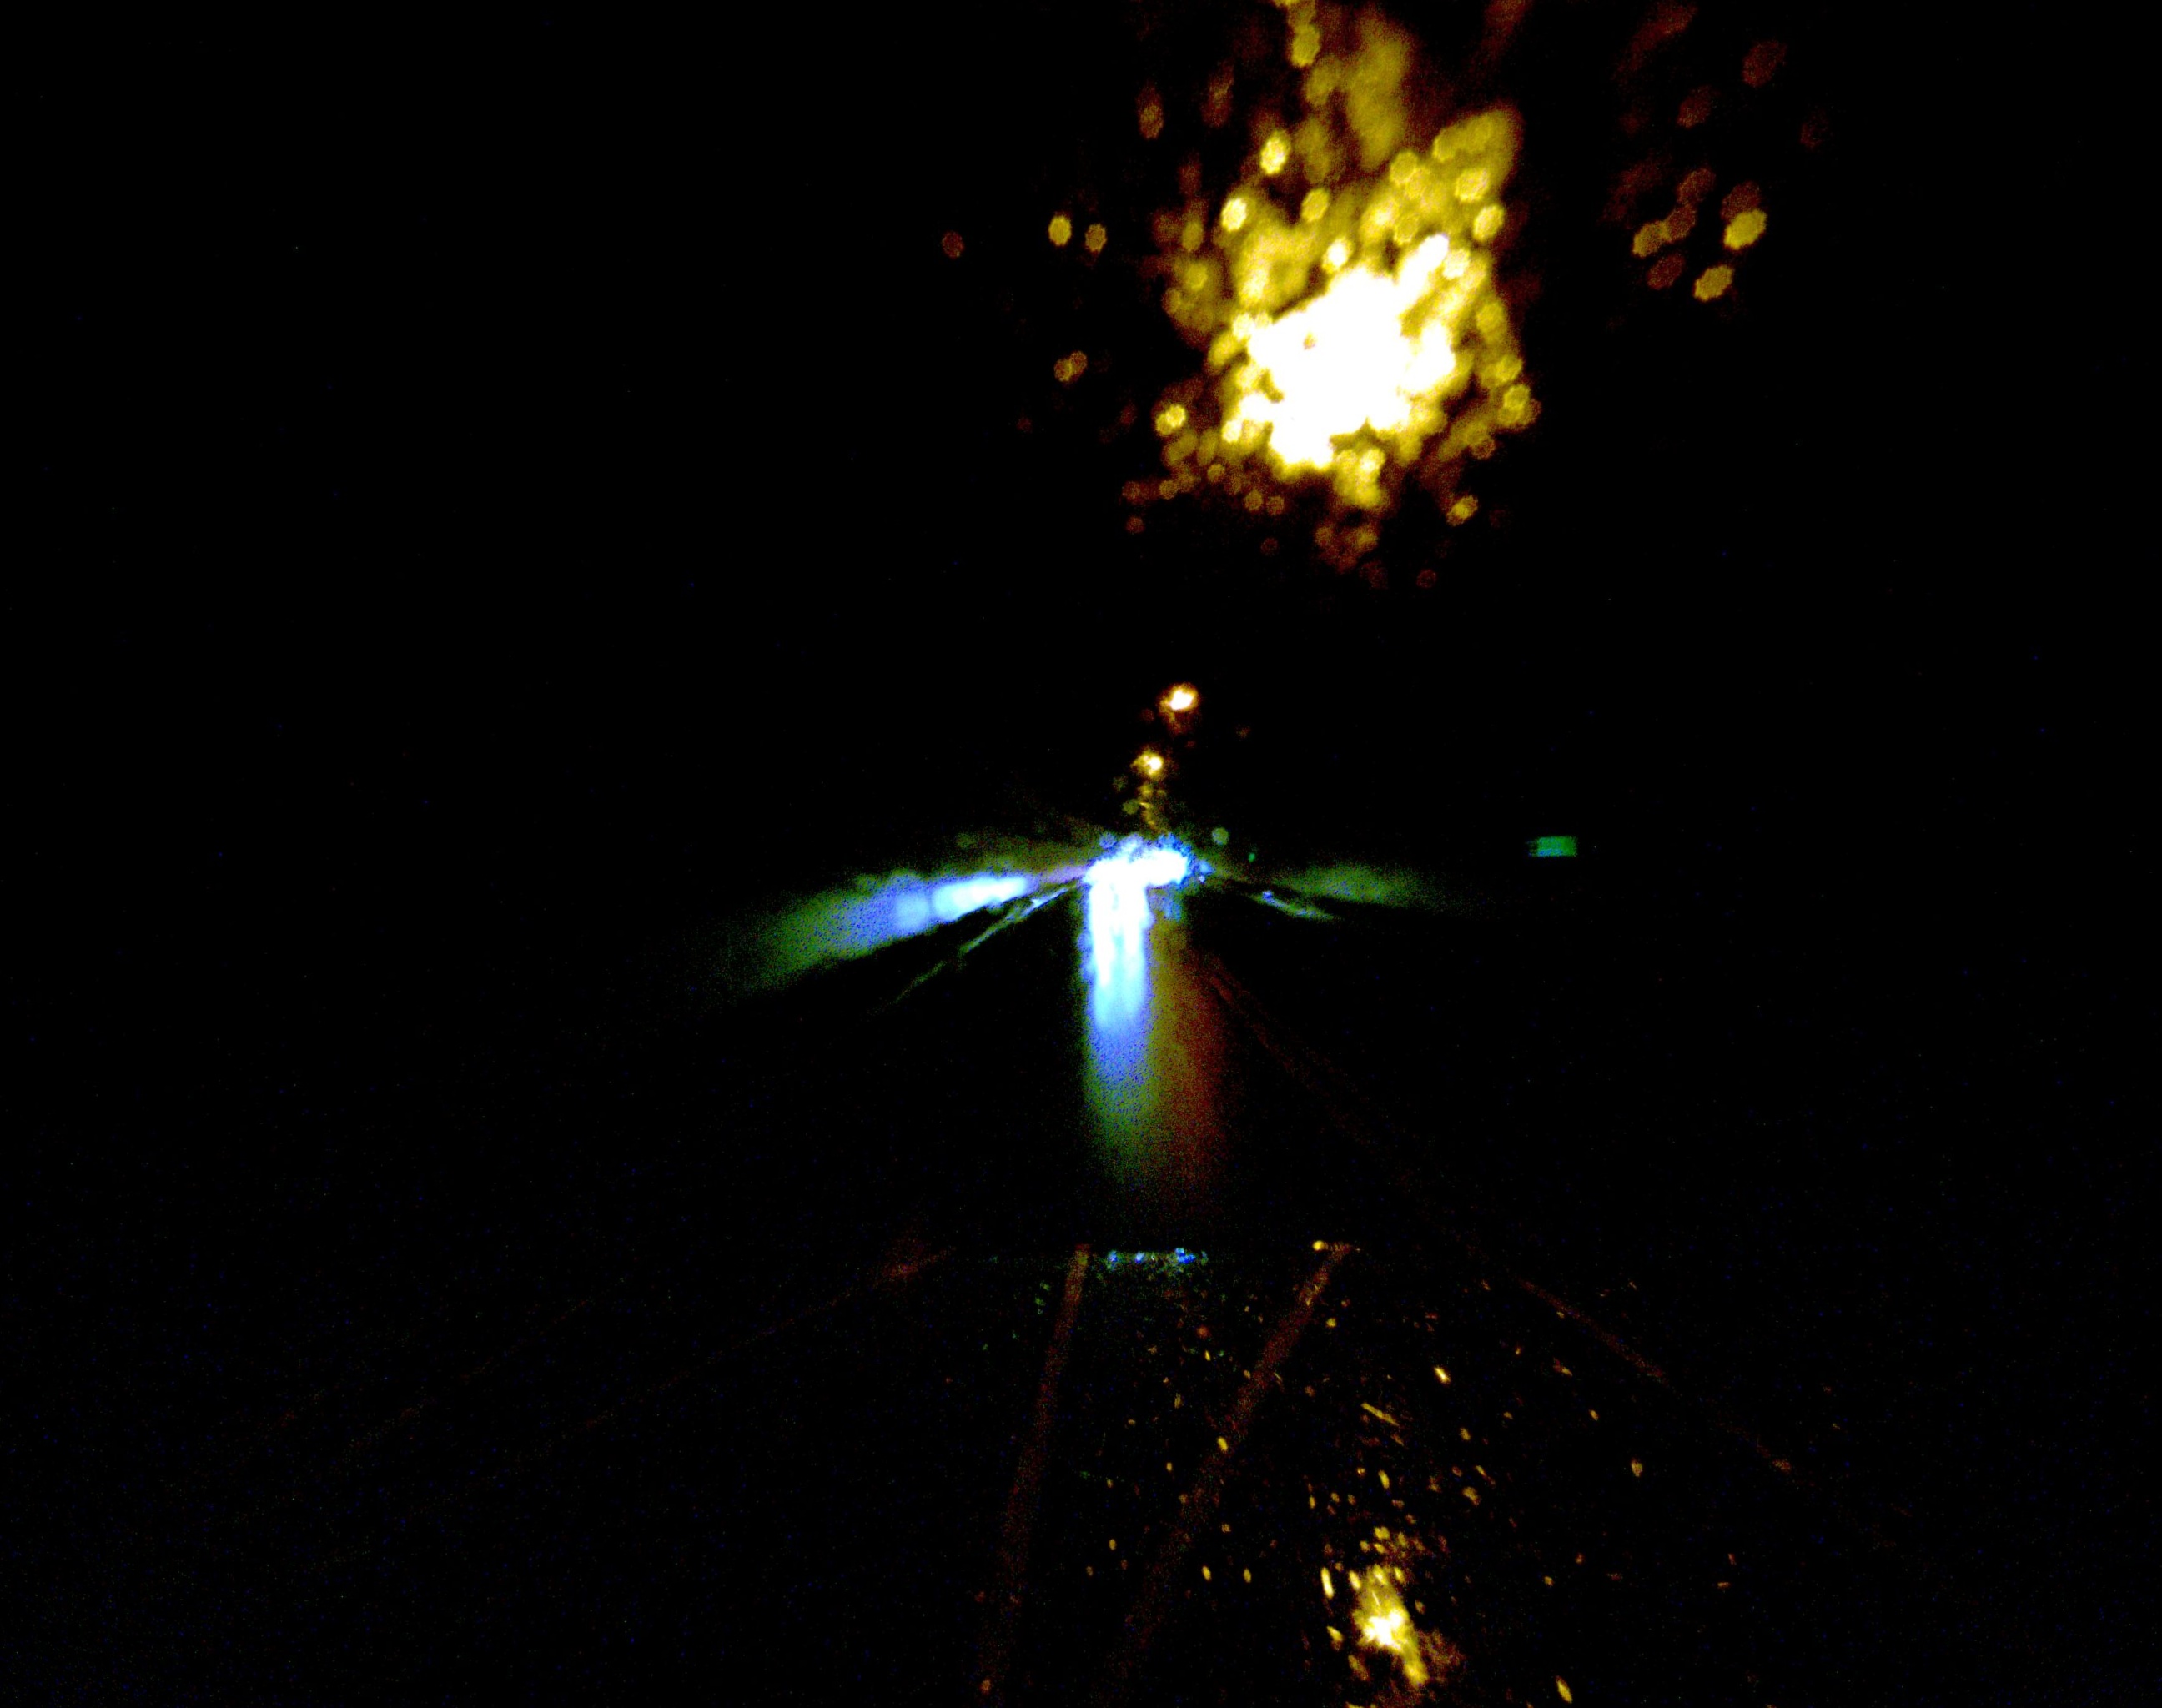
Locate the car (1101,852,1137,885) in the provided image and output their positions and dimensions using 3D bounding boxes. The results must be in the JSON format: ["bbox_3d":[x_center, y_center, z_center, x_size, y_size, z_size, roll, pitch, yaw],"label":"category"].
[{"bbox_3d":[2.186,0.776,42.563,1.729,1.595,4.001,-4,1,5],"label":"car"}]
